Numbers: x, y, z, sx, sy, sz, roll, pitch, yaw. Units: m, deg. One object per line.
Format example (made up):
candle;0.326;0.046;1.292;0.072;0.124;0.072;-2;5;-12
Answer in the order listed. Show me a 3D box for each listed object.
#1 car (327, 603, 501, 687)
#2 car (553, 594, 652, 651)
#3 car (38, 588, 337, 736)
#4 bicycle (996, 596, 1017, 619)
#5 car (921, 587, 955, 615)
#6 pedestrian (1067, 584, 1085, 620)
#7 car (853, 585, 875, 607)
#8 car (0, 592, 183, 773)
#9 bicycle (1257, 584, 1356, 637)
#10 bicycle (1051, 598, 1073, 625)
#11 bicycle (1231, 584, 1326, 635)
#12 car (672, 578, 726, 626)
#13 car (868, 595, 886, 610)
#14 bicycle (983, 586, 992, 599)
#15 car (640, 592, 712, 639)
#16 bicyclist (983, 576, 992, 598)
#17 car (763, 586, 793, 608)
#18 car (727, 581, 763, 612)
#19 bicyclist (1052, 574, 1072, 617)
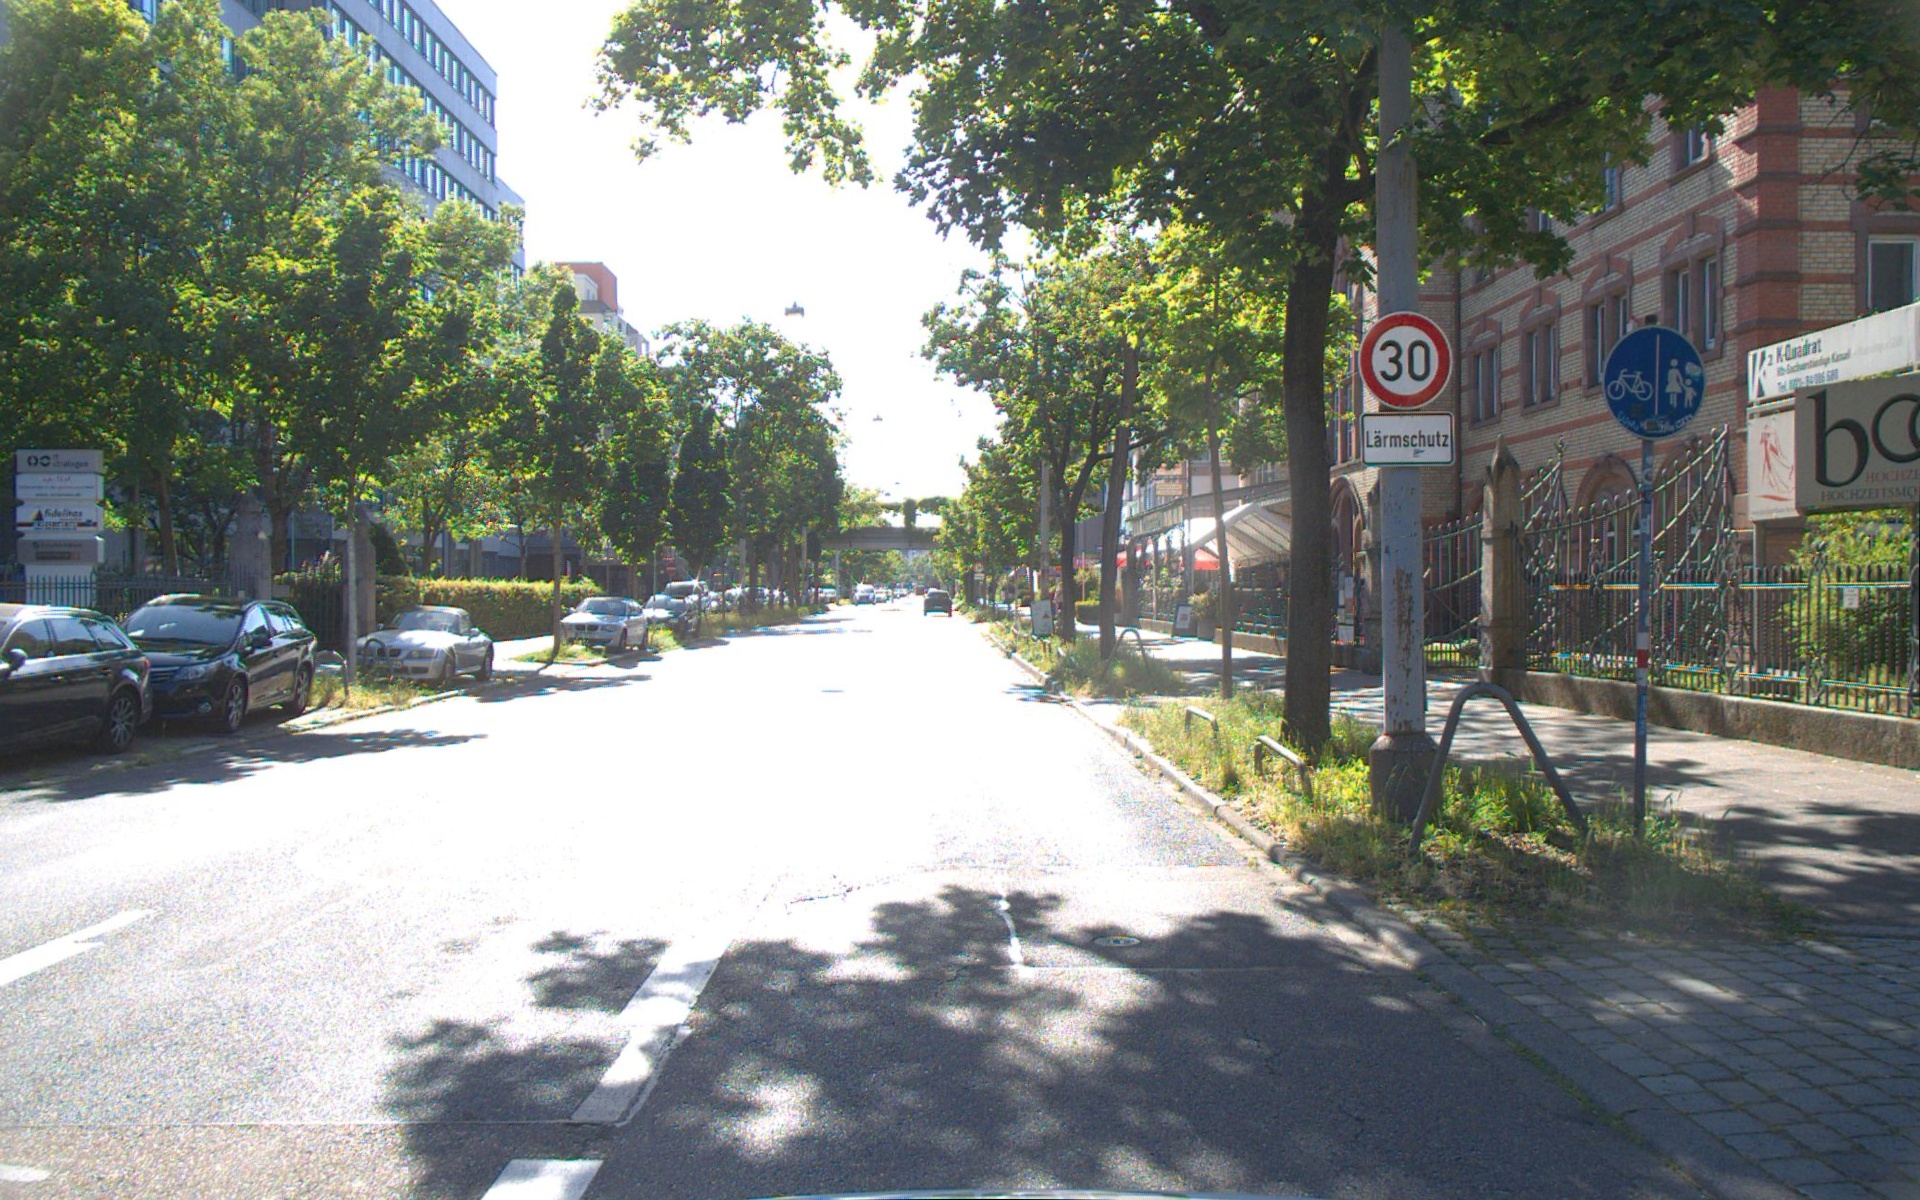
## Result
car;-9.175;0.713;28.099;1.644;1.277;4.014;1;0;-1
car;-9.521;0.568;44.333;1.653;1.407;4.192;1;0;1
car;-9.303;0.664;20.401;1.820;1.520;4.700;3;0;-6
bicycle;2.293;0.372;81.478;0.578;1.084;2.024;0;0;15
car;-1.343;0.030;100.464;1.945;1.628;4.138;0;1;-3
pedestrian;5.401;0.088;76.915;0.641;1.632;0.602;-3;0;-7
car;-8.414;-0.348;145.147;1.818;1.857;4.608;-2;0;-2
car;-9.228;0.714;15.265;1.818;1.452;4.719;4;0;0
bicycle;8.053;0.245;38.483;2.154;1.199;0.686;0;-1;-7
bicycle;3.947;0.452;64.214;0.671;1.045;2.095;0;0;-2
bicycle;7.636;0.224;39.679;2.154;1.199;0.686;0;-1;-7
car;-12.213;0.068;77.713;1.942;2.112;5.193;-2;0;-4
car;-8.980;0.256;179.047;1.818;1.595;4.713;-2;0;-2
bicycle;2.154;-0.572;129.877;0.577;1.045;1.859;0;0;-2
car;-9.507;0.493;55.587;1.677;1.484;4.072;1;0;0
bicyclist;2.149;-1.047;129.790;0.654;1.725;0.889;1;0;-2
car;-13.372;-0.207;121.674;1.818;1.549;4.317;1;0;-2
car;-13.522;-0.235;104.066;1.818;1.882;4.560;1;0;-2
bicyclist;3.973;-0.166;64.164;0.686;1.627;0.954;0;-1;-2
